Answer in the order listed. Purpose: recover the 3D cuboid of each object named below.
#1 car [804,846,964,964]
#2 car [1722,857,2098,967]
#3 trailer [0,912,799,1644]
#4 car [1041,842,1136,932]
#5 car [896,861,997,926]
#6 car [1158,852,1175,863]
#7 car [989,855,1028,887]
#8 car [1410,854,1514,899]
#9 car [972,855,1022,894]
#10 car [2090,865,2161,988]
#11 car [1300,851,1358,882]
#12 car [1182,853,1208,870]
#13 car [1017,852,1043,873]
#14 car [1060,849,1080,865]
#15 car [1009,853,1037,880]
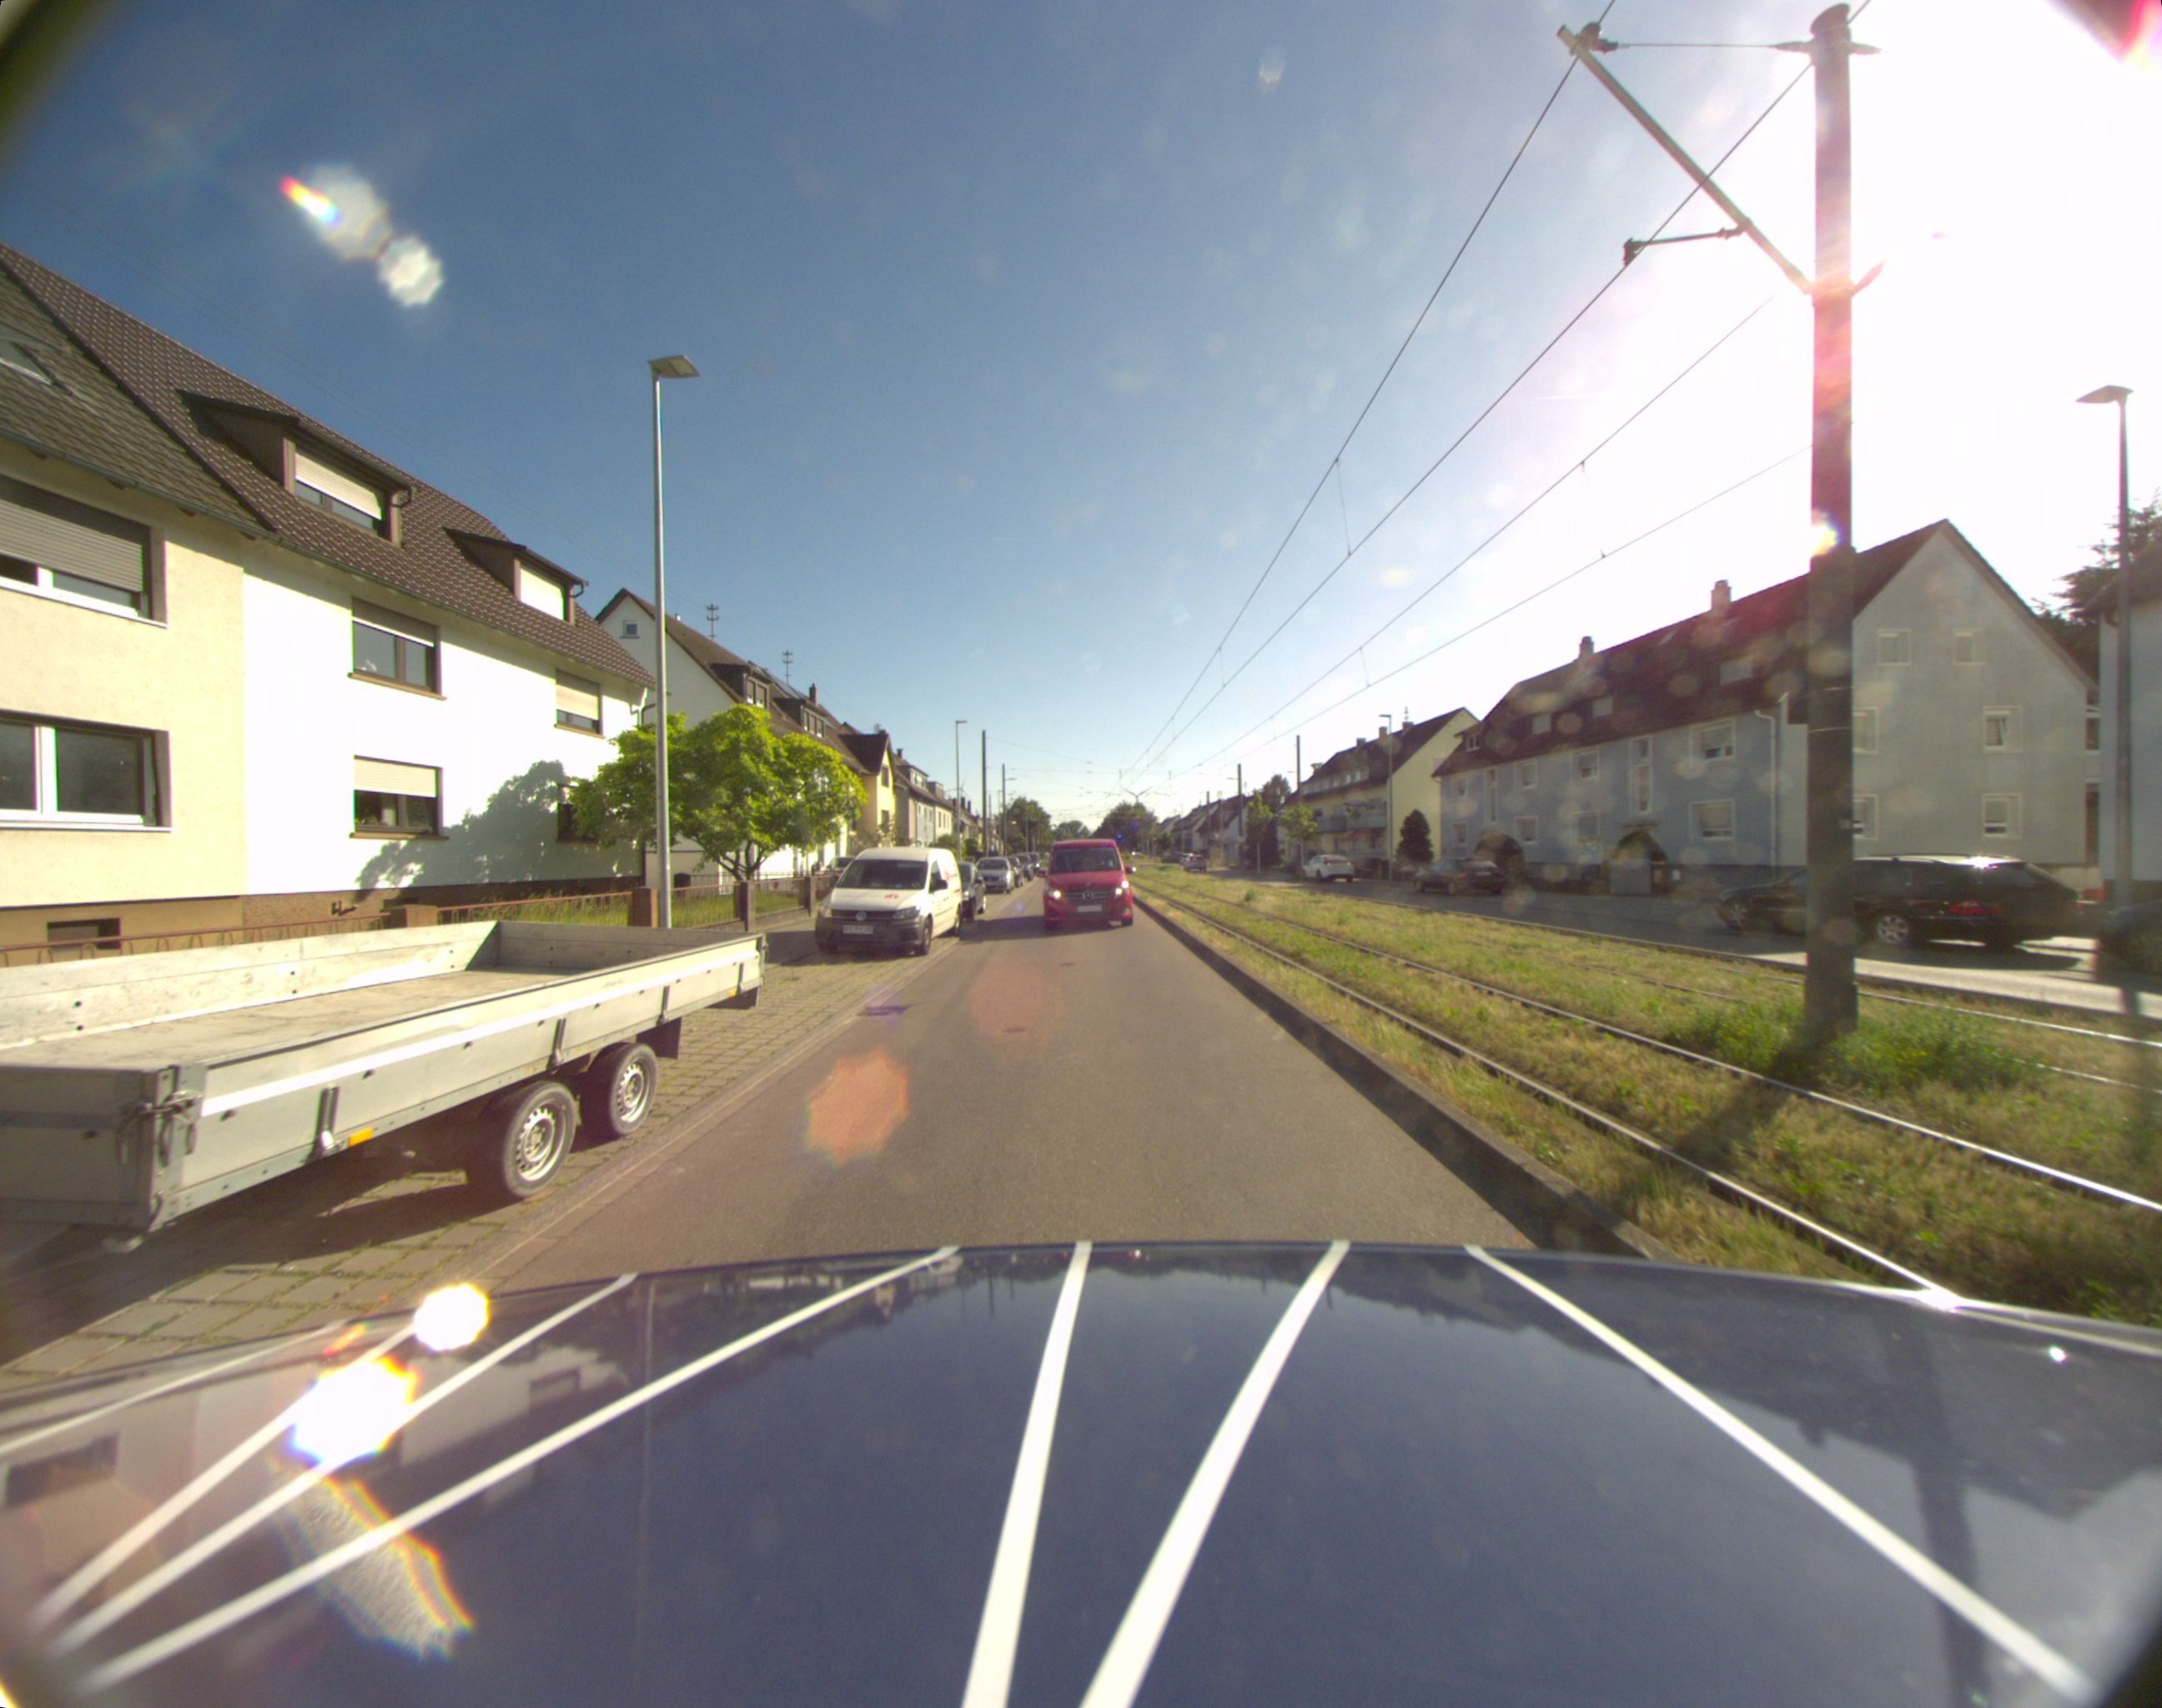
[{"bbox_3d":[-3.352,0.771,13.871,1.796,1.752,4.583,2,0,-2],"label":"car"},{"bbox_3d":[13.675,0.844,13.029,1.658,1.447,4.400,-2,1,1],"label":"car"},{"bbox_3d":[-3.548,1.119,3.506,2.278,1.124,6.435,2,0,-2],"label":"trailer"},{"bbox_3d":[0.203,0.685,19.066,1.998,1.889,5.390,-2,1,1],"label":"car"},{"bbox_3d":[-3.419,0.962,20.130,1.828,1.461,4.441,0,0,0],"label":"car"},{"bbox_3d":[12.934,0.554,114.998,2.016,1.561,4.092,-2,1,1],"label":"car"},{"bbox_3d":[-3.589,0.820,38.175,1.632,1.460,4.481,2,0,-2],"label":"car"},{"bbox_3d":[13.725,0.766,27.645,1.704,1.389,4.092,-2,1,1],"label":"car"},{"bbox_3d":[-3.487,0.809,32.164,1.682,1.472,4.388,2,1,-2],"label":"car"},{"bbox_3d":[13.687,0.860,7.752,1.469,1.459,3.999,0,0,0],"label":"car"},{"bbox_3d":[13.448,0.623,41.383,1.831,1.522,4.092,-2,1,1],"label":"car"},{"bbox_3d":[10.476,0.676,70.067,1.704,1.455,4.092,-2,1,1],"label":"car"},{"bbox_3d":[-4.126,0.669,61.625,1.861,1.592,4.583,2,1,-2],"label":"car"},{"bbox_3d":[-1.143,0.280,76.570,1.861,1.592,4.327,2,1,-2],"label":"car"},{"bbox_3d":[-3.641,0.740,48.353,1.524,1.571,4.583,1,0,-2],"label":"car"}]
